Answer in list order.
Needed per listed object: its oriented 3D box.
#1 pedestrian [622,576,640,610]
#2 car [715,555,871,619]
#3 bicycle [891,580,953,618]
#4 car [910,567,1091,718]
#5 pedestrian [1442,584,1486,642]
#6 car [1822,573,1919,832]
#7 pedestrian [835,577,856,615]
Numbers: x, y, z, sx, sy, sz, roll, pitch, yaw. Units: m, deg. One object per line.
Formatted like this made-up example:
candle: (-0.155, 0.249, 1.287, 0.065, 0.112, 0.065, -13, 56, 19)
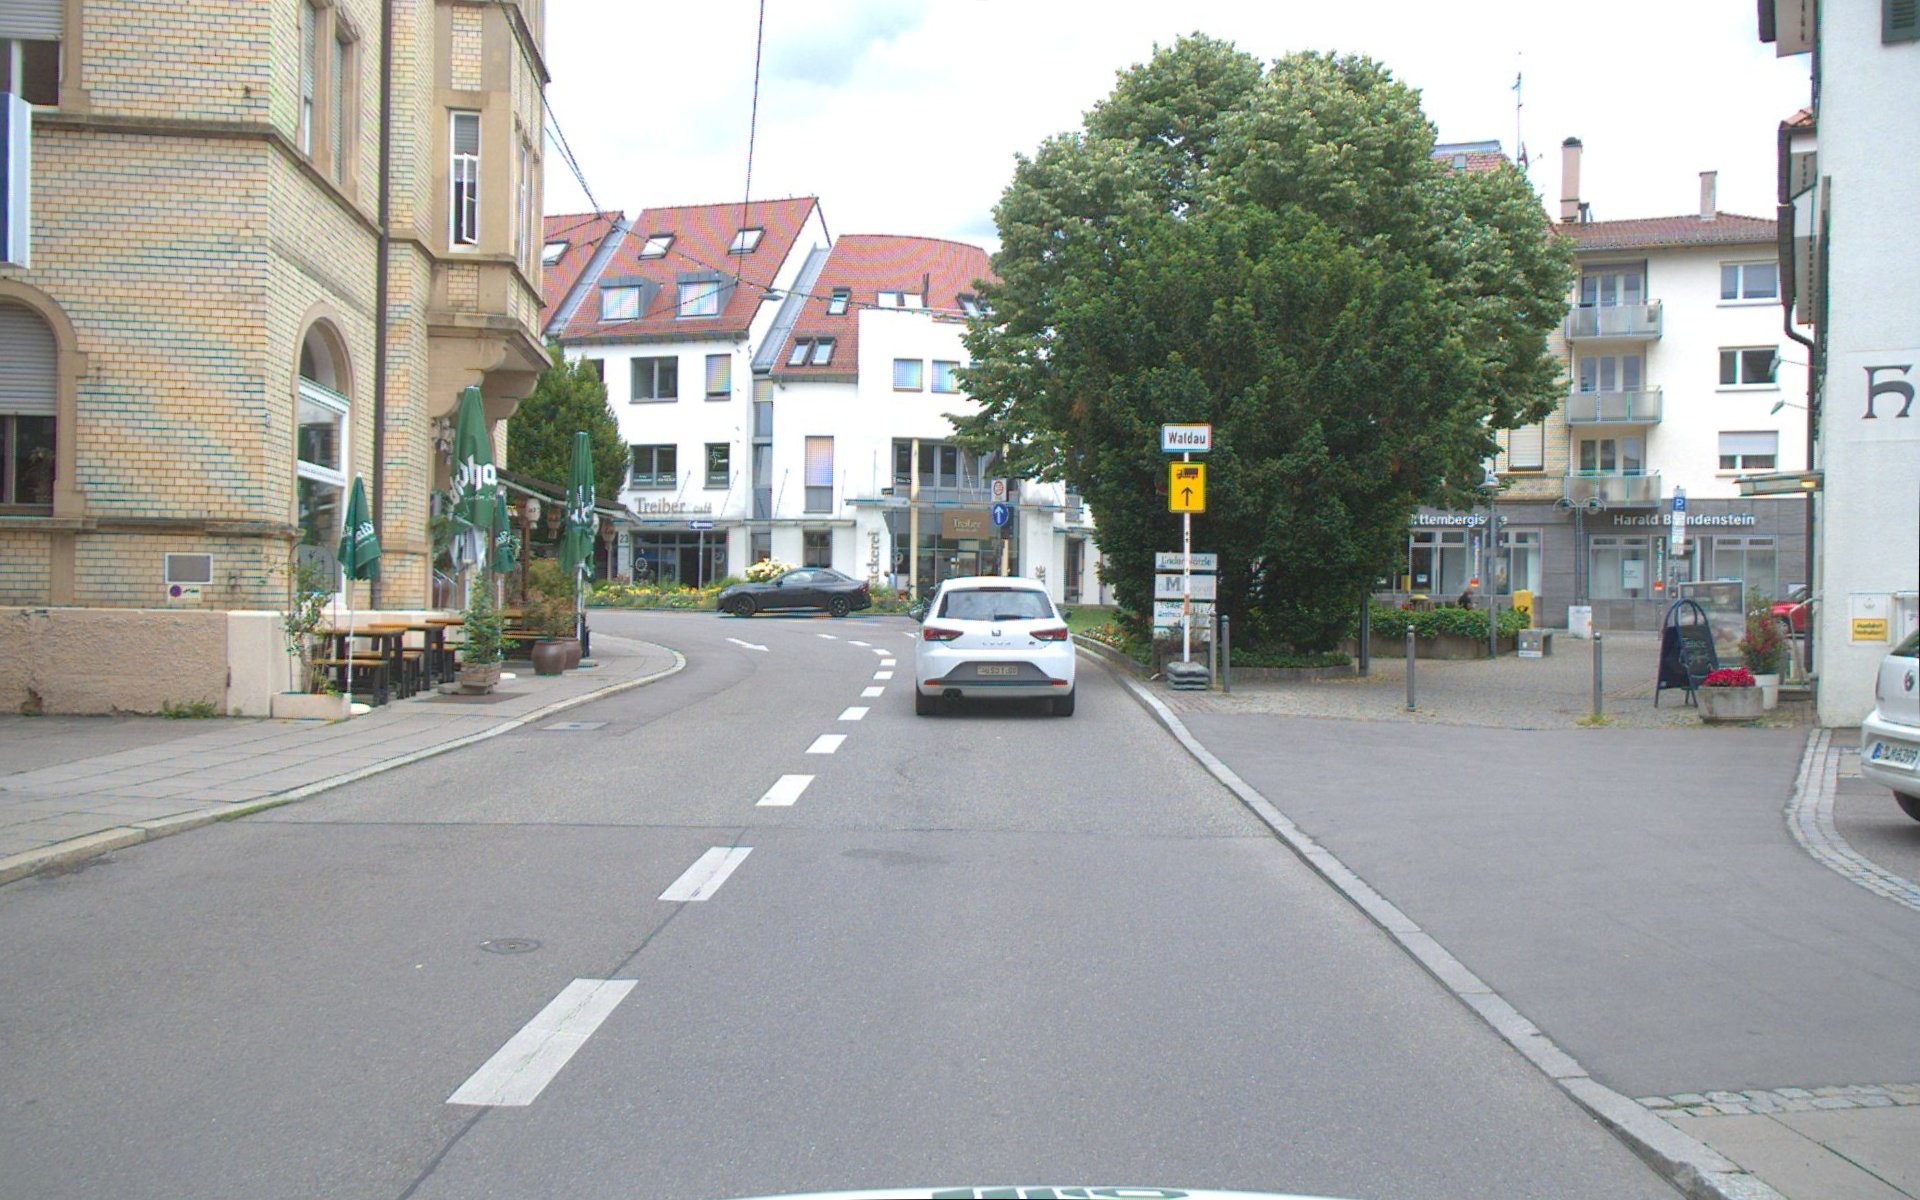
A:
pedestrian: (-12.401, -0.268, 62.336, 0.480, 1.293, 0.502, 1, 0, 18)
car: (-4.752, -0.383, 47.566, 4.272, 1.704, 2.041, 1, 1, -2)
bicycle: (-1.289, -0.039, 55.860, 1.932, 1.261, 0.744, 1, 1, 18)
car: (0.463, 0.389, 18.802, 1.805, 1.459, 4.002, 1, 2, 1)
pedestrian: (12.613, 0.320, 41.404, 0.836, 1.404, 0.976, 1, 0, 5)
car: (7.248, 0.576, 9.424, 3.711, 1.443, 1.899, 0, 0, 7)
pedestrian: (-4.141, -0.134, 59.881, 0.641, 1.365, 0.696, 1, 0, 6)
